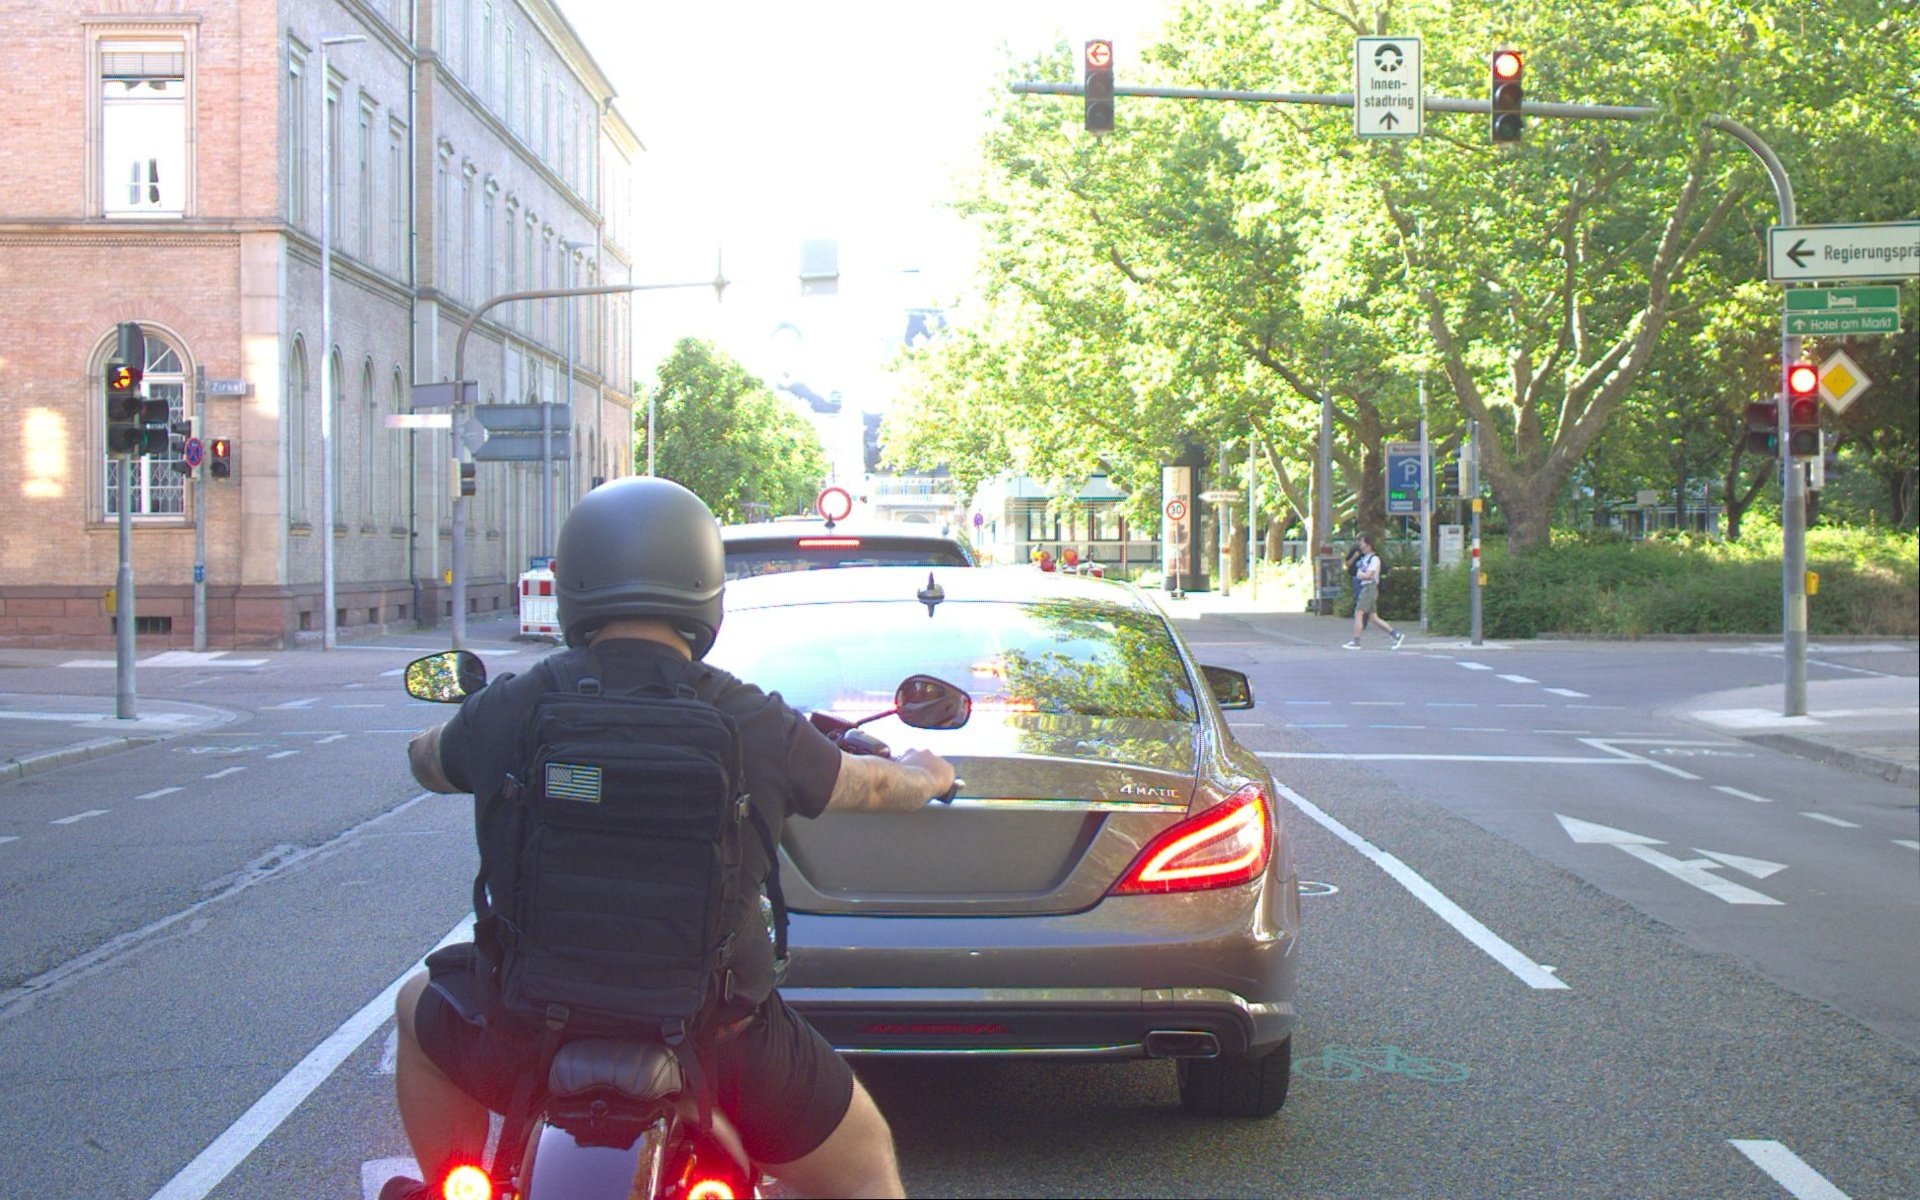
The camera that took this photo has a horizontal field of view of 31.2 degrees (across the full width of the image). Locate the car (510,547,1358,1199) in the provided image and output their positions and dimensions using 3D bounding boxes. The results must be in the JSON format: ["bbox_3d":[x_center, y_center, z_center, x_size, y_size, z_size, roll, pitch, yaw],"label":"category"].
[{"bbox_3d":[-0.081,0.597,9.621,1.882,1.444,3.820,1,1,-1],"label":"car"}]

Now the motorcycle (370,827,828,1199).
[{"bbox_3d":[-0.493,0.929,5.293,0.513,0.999,2.013,1,1,-1],"label":"motorcycle"}]

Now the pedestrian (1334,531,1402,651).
[{"bbox_3d":[6.329,-0.146,53.339,1.002,1.820,1.076,1,0,6],"label":"pedestrian"}]

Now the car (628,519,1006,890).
[{"bbox_3d":[-0.636,0.412,16.737,1.621,1.588,4.000,0,1,-1],"label":"car"}]

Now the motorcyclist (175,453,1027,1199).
[{"bbox_3d":[-0.502,0.597,5.344,1.149,1.593,1.288,1,0,-1],"label":"motorcyclist"}]

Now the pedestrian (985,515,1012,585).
[{"bbox_3d":[1.130,-1.457,100.669,0.764,2.044,0.712,1,0,-1],"label":"pedestrian"}]

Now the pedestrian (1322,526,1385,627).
[{"bbox_3d":[7.451,-0.444,65.115,0.749,1.903,0.926,1,0,-28],"label":"pedestrian"}]
